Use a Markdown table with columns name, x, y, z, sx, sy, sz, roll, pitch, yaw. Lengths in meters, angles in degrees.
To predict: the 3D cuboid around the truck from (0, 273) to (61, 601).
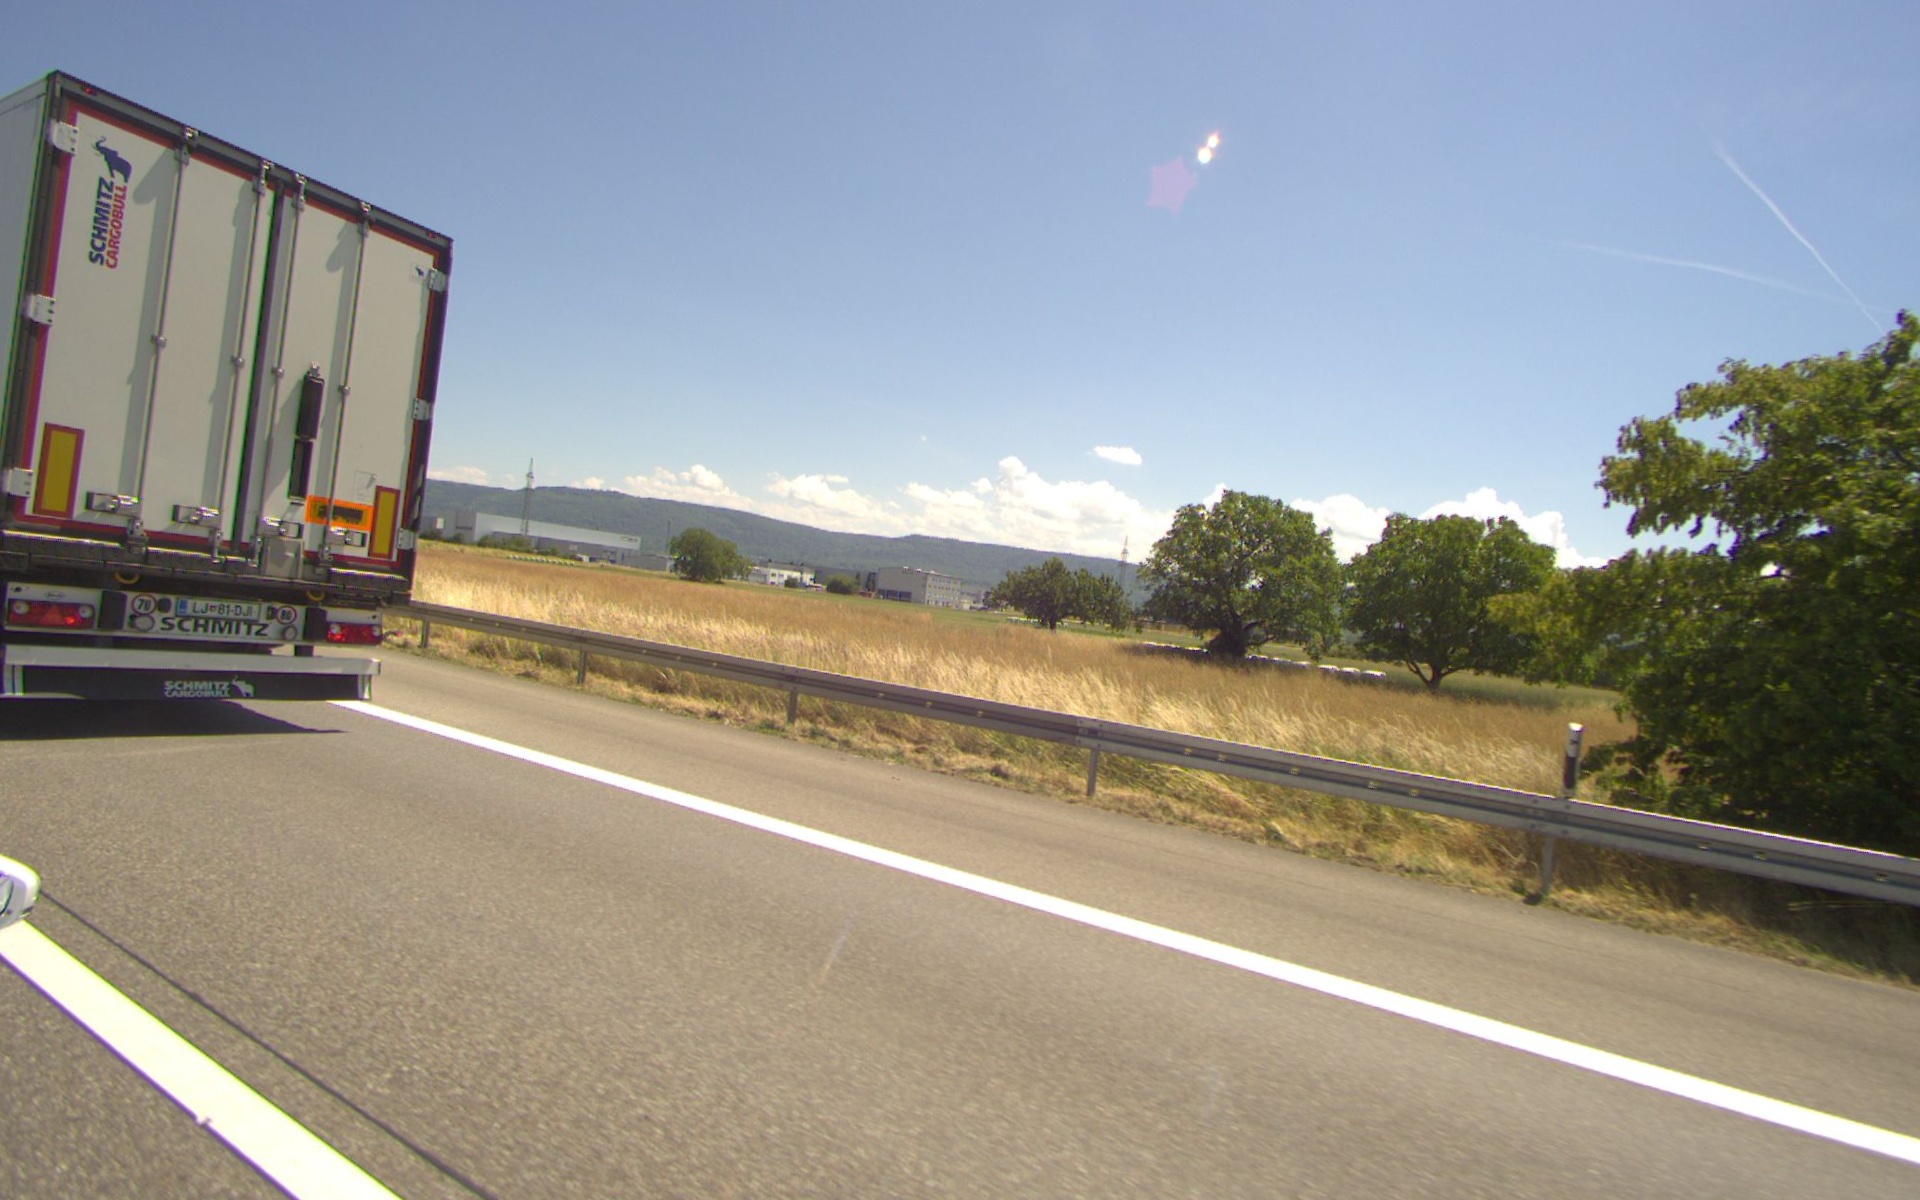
| name | x | y | z | sx | sy | sz | roll | pitch | yaw |
| --- | --- | --- | --- | --- | --- | --- | --- | --- | --- |
| truck | -16.455 | -2.650 | 14.440 | 6.481 | 4.396 | 3.224 | 7 | -1 | 32 |

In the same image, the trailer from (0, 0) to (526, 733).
| name | x | y | z | sx | sy | sz | roll | pitch | yaw |
| --- | --- | --- | --- | --- | --- | --- | --- | --- | --- |
| trailer | -10.445 | -1.929 | 10.687 | 13.403 | 4.396 | 3.224 | 7 | -1 | 32 |
